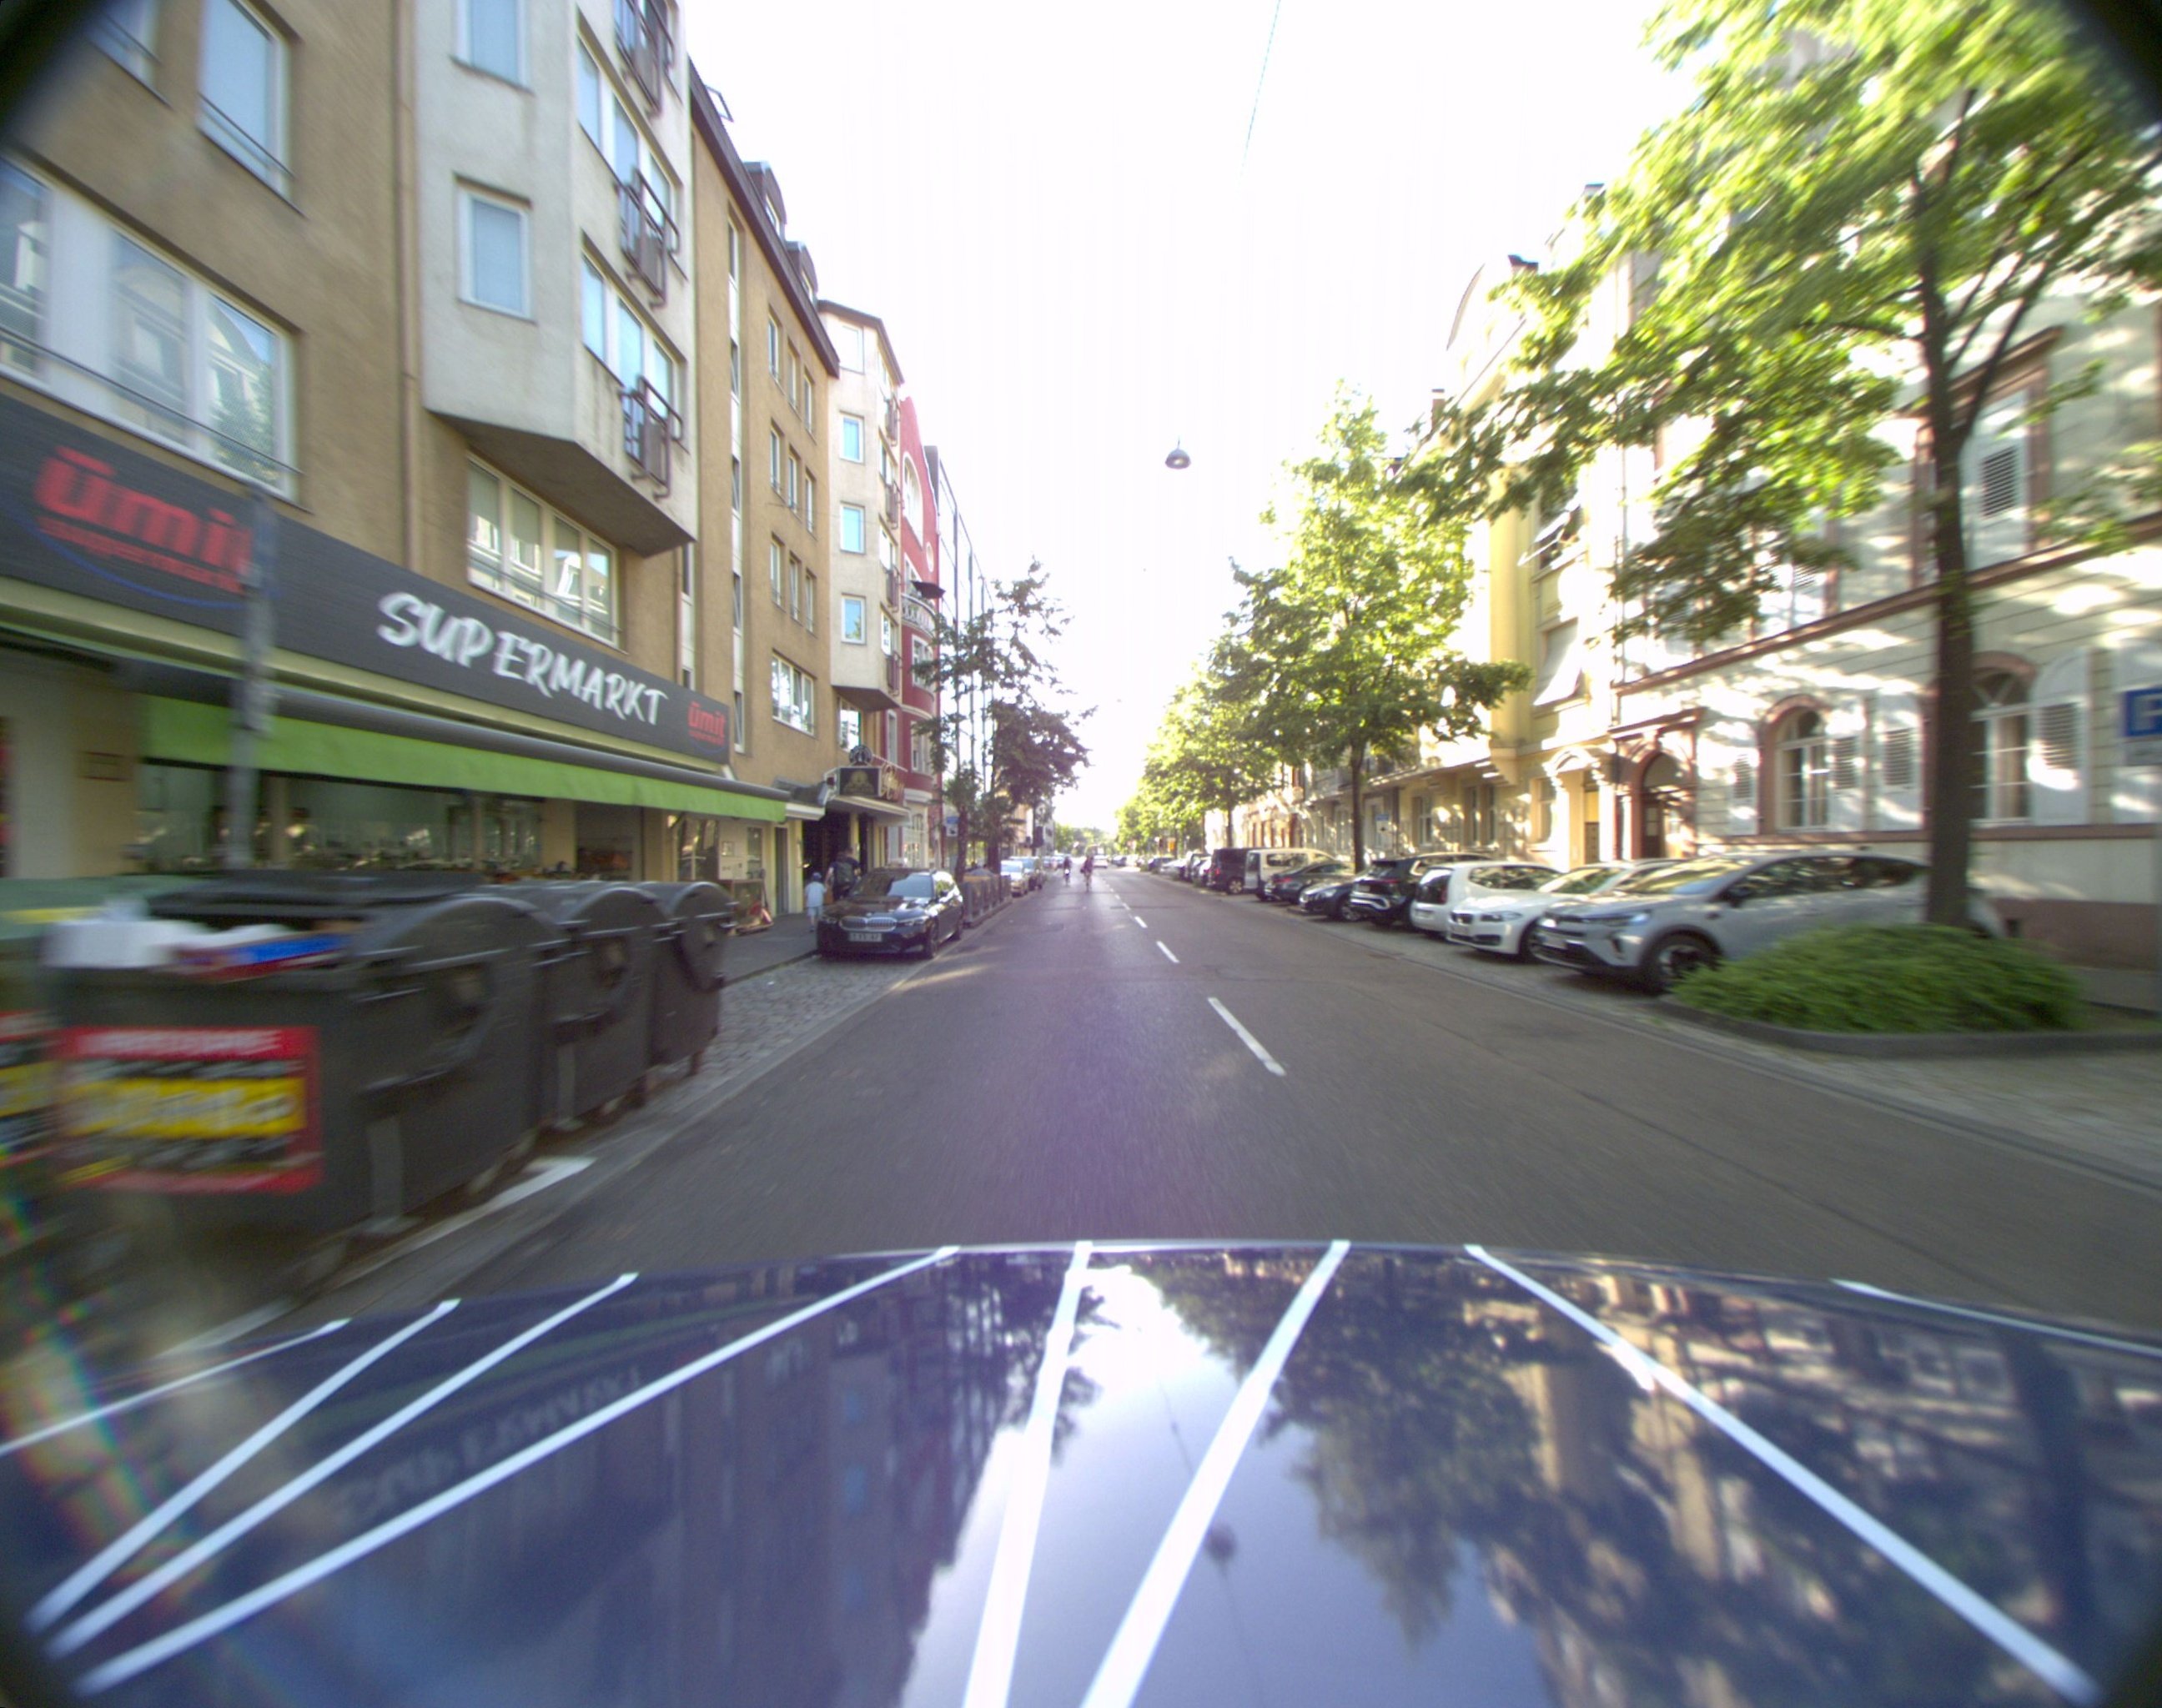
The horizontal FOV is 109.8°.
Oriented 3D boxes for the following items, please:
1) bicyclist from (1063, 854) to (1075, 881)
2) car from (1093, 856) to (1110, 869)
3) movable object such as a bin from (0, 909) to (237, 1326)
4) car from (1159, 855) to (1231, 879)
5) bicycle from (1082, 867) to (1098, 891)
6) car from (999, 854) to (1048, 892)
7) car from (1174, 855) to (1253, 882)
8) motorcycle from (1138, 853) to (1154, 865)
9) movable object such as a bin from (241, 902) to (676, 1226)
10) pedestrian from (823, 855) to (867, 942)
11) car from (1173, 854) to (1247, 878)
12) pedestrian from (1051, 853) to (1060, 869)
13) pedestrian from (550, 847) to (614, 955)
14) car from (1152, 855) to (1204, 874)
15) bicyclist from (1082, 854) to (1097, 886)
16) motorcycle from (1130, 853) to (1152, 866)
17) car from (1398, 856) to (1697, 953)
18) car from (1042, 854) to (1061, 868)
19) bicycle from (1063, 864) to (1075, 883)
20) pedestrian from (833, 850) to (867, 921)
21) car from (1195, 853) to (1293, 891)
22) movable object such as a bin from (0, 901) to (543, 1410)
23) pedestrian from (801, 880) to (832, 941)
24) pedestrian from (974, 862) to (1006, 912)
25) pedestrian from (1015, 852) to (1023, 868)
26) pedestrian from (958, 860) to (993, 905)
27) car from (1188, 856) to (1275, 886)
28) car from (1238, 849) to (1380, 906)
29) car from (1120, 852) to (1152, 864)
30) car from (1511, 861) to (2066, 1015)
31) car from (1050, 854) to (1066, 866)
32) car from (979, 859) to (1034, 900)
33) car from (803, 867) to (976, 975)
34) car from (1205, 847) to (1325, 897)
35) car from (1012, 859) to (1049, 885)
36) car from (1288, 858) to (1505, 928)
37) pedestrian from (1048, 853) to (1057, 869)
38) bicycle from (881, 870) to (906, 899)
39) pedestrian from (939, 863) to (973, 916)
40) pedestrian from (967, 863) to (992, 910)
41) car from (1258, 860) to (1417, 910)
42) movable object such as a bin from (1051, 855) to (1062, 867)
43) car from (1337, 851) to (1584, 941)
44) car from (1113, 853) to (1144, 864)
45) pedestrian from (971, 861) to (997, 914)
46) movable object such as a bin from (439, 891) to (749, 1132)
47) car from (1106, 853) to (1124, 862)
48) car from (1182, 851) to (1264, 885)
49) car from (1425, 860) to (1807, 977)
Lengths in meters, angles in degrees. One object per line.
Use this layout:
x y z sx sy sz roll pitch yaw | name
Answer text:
-0.731 0.816 45.738 0.658 1.562 0.909 -1 1 1 | bicyclist
2.654 1.056 97.644 1.915 1.536 4.353 -3 1 3 | car
-4.361 0.959 2.781 1.080 1.423 1.295 0 0 1 | movable object such as a bin
8.048 0.900 54.028 4.713 1.484 1.999 -2 2 -4 | car
0.428 1.218 37.329 0.718 1.105 2.269 -1 0 0 | bicycle
-2.918 0.928 39.636 1.826 1.767 4.932 2 0 4 | car
8.175 0.901 47.002 4.354 1.535 1.962 -1 0 -11 | car
7.780 0.584 90.957 1.750 1.415 0.831 -1 1 27 | motorcycle
-3.217 1.020 4.126 1.402 1.445 1.146 0 0 1 | movable object such as a bin
-4.697 0.870 15.164 0.618 1.686 0.762 0 1 2 | pedestrian
8.713 0.811 51.736 4.711 1.483 2.000 -2 0 1 | car
-2.810 0.782 83.931 0.693 1.709 0.897 2 1 25 | pedestrian
-7.879 0.711 11.996 0.760 1.632 0.620 0 1 38 | pedestrian
8.456 0.888 66.725 4.349 1.535 1.945 -1 0 2 | car
0.406 0.777 37.273 0.718 1.553 0.864 -1 1 0 | bicyclist
7.113 0.638 90.150 2.316 1.415 1.002 -1 1 28 | motorcycle
8.376 0.876 13.930 4.350 1.572 1.809 -1 0 0 | car
-3.412 0.775 88.128 1.978 1.565 4.126 2 0 1 | car
-0.726 1.177 45.698 0.666 1.061 1.836 -1 0 1 | bicycle
-5.639 0.752 18.572 0.632 1.686 0.502 -1 1 -41 | pedestrian
7.898 0.870 37.158 4.351 1.723 1.916 -1 0 -1 | car
-3.179 0.985 2.961 1.334 1.533 1.146 0 0 1 | movable object such as a bin
-5.184 1.094 14.890 0.444 1.156 0.501 0 1 -3 | pedestrian
-2.851 1.017 23.896 0.750 1.527 0.808 0 1 15 | pedestrian
-6.662 0.605 81.593 0.617 1.682 0.677 2 3 44 | pedestrian
-3.714 0.998 26.866 1.058 1.527 0.892 0 1 4 | pedestrian
8.292 0.925 41.995 4.352 1.535 1.916 -1 0 -4 | car
7.951 0.774 26.659 4.353 1.823 1.915 -1 0 -7 | car
7.638 0.572 105.601 4.006 1.553 1.995 -1 0 -31 | car
7.781 0.898 8.808 4.475 1.532 1.917 -1 0 5 | car
-3.104 0.792 105.139 1.998 1.565 4.000 2 0 1 | car
-3.165 1.039 33.275 1.826 1.587 4.842 2 0 0 | car
-3.214 1.047 13.850 1.826 1.463 4.911 2 0 0 | car
7.630 0.731 31.838 4.584 1.915 1.930 -1 0 3 | car
-3.006 1.070 46.068 1.826 1.394 4.842 2 0 1 | car
7.542 0.907 18.512 4.476 1.532 1.917 -1 0 2 | car
-3.176 0.775 84.513 0.699 1.709 0.693 1 1 -23 | pedestrian
-6.805 1.103 27.610 0.475 0.996 1.701 0 0 0 | bicycle
-3.716 1.048 22.634 0.712 1.527 0.770 0 1 15 | pedestrian
-3.323 1.059 25.019 0.694 1.527 0.776 0 1 1 | pedestrian
7.946 0.945 23.884 4.350 1.430 1.917 -1 0 2 | car
-3.153 0.902 98.510 1.147 1.413 1.411 2 1 4 | movable object such as a bin
7.950 0.822 16.130 4.353 1.699 1.915 -1 0 -7 | car
6.744 0.635 107.822 4.006 1.433 1.995 -1 0 -31 | car
-2.867 0.989 22.597 0.652 1.527 0.980 0 1 -1 | pedestrian
-3.277 1.008 5.289 1.402 1.445 1.146 0 0 1 | movable object such as a bin
5.798 0.553 128.877 1.771 1.421 4.006 -1 0 20 | car
8.303 0.794 44.569 4.352 1.813 1.929 -1 0 -5 | car
7.933 0.908 11.593 4.477 1.532 1.916 -1 0 0 | car
